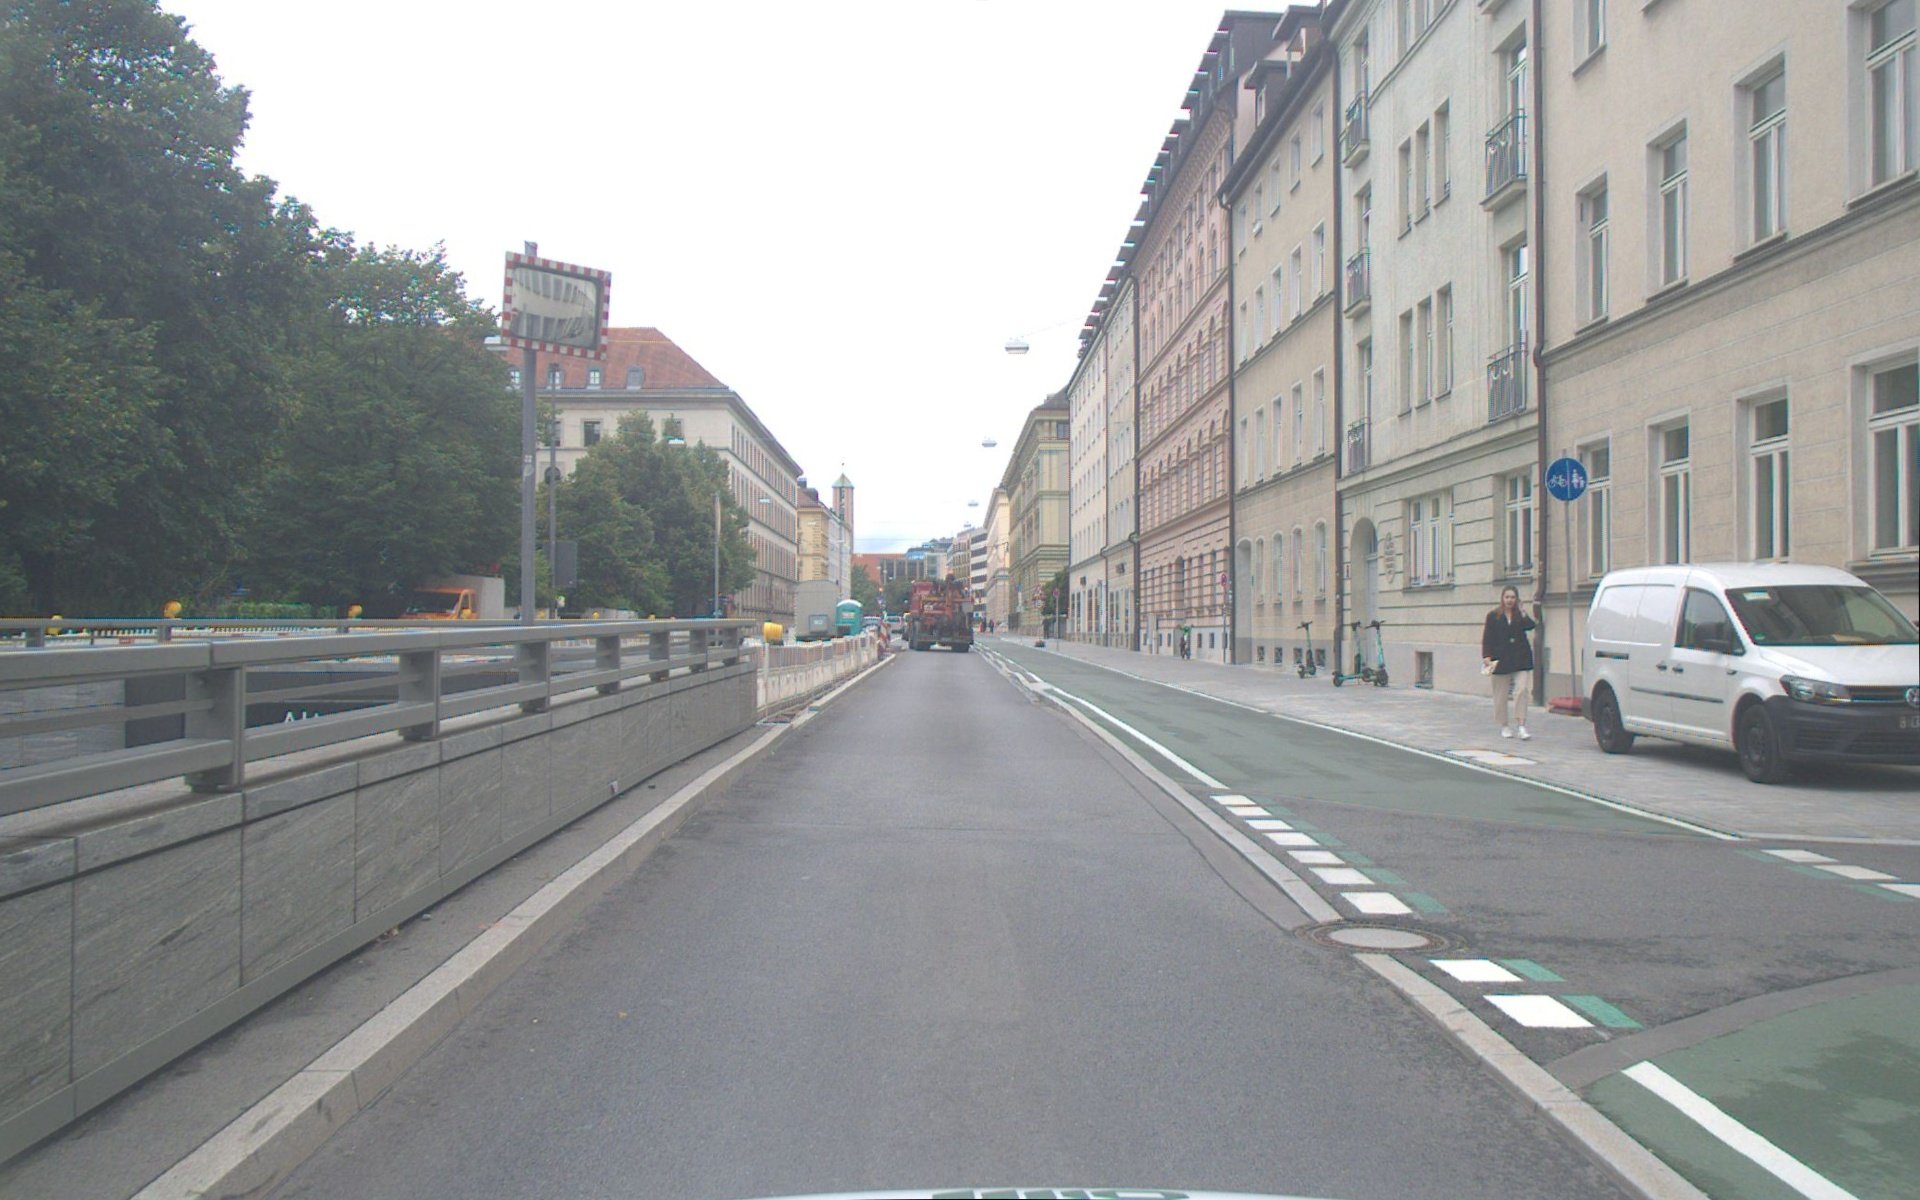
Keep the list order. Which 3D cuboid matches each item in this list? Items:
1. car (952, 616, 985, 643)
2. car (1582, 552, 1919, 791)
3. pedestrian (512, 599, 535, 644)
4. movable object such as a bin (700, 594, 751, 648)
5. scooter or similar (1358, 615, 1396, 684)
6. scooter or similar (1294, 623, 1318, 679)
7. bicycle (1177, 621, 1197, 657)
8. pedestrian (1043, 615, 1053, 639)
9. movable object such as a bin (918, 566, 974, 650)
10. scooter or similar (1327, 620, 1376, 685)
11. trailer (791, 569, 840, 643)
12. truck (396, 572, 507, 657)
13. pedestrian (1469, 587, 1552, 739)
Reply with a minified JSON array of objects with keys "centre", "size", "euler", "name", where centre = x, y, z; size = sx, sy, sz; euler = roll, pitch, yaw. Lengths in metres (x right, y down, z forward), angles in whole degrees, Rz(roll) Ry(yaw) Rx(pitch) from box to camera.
[{"centre":[0.469,1.679,95.167],"size":[1.765,1.506,4.685],"euler":[0,-1,-2],"name":"car"},{"centre":[7.226,0.547,14.650],"size":[1.698,1.780,4.434],"euler":[-1,0,-1],"name":"car"},{"centre":[-15.968,0.779,60.538],"size":[0.649,1.631,0.698],"euler":[1,-1,0],"name":"pedestrian"},{"centre":[-11.729,1.032,82.977],"size":[1.884,2.617,4.492],"euler":[1,-1,0],"name":"movable object such as a bin"},{"centre":[8.028,0.941,31.831],"size":[0.379,1.295,1.119],"euler":[-2,-1,-1],"name":"scooter or similar"},{"centre":[7.870,1.148,37.580],"size":[0.241,1.252,1.119],"euler":[-2,-1,24],"name":"scooter or similar"},{"centre":[7.755,1.333,56.431],"size":[0.417,1.195,1.732],"euler":[-1,-1,16],"name":"bicycle"},{"centre":[6.809,2.091,128.073],"size":[0.774,1.868,0.777],"euler":[0,-1,0],"name":"pedestrian"},{"centre":[-0.689,0.387,75.887],"size":[2.374,3.675,5.849],"euler":[0,-1,-2],"name":"movable object such as a bin"},{"centre":[7.800,1.031,32.931],"size":[1.106,1.252,0.244],"euler":[-1,-2,-35],"name":"scooter or similar"},{"centre":[-6.842,0.307,78.003],"size":[2.183,3.300,7.510],"euler":[0,-1,-5],"name":"trailer"},{"centre":[-17.381,0.492,56.862],"size":[1.953,2.776,5.869],"euler":[0,-1,0],"name":"truck"},{"centre":[6.159,0.694,18.535],"size":[0.651,1.664,0.737],"euler":[-1,-1,-1],"name":"pedestrian"}]
